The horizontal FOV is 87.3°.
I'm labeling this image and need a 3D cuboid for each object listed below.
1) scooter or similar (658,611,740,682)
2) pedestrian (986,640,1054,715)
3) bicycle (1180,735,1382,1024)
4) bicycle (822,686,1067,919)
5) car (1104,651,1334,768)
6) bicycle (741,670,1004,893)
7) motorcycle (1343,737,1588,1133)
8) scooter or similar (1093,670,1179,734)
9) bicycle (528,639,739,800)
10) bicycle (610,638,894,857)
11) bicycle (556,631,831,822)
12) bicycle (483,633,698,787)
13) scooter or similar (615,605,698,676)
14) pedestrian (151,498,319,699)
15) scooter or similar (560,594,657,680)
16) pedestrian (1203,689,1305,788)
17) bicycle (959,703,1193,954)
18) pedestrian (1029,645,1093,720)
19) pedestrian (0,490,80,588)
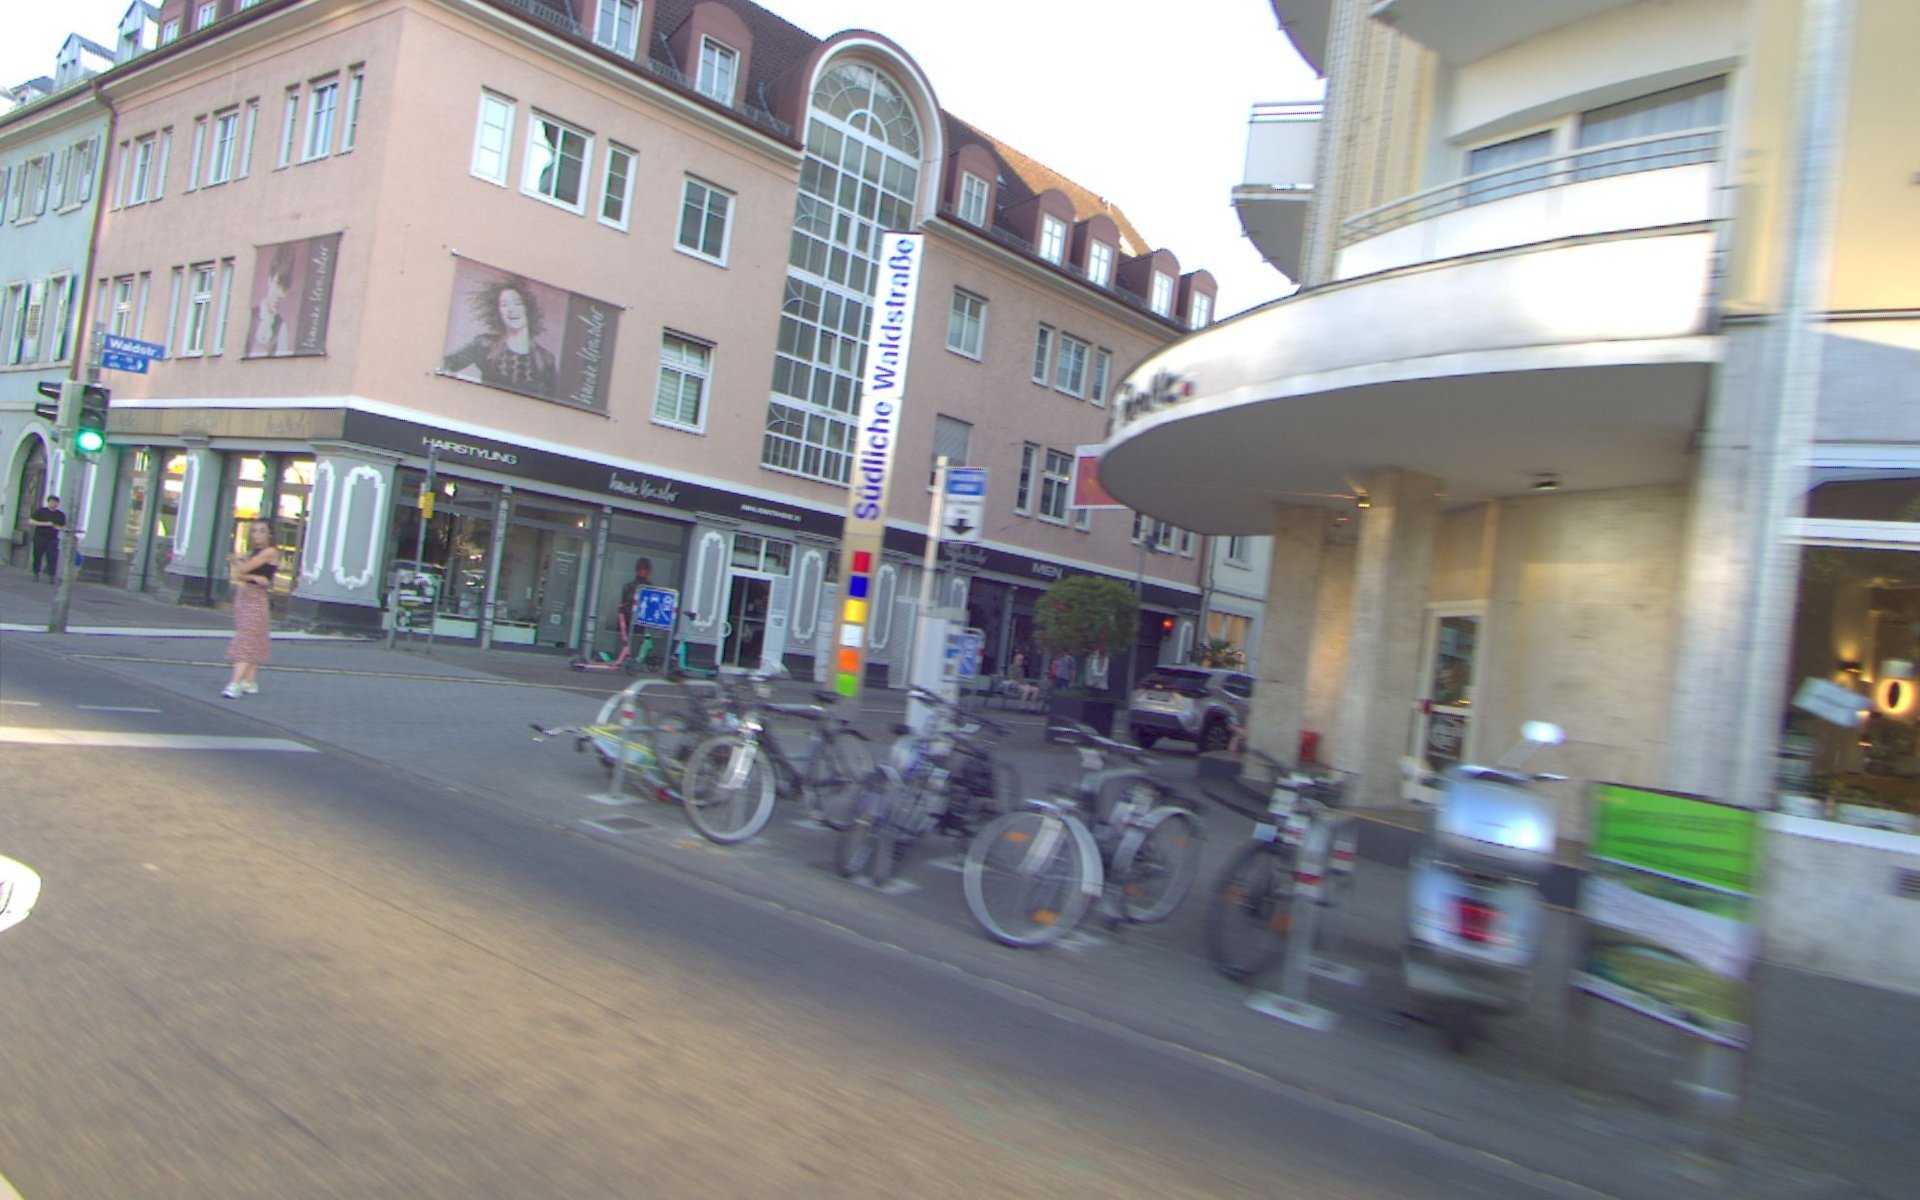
[{"bbox_3d":[-4.958,0.904,19.155,0.502,1.177,1.315,6,-3,43],"label":"scooter or similar"},{"bbox_3d":[1.380,1.792,23.272,0.978,1.542,1.037,8,-2,-35],"label":"pedestrian"},{"bbox_3d":[1.798,1.366,5.414,0.583,1.125,1.889,8,-1,28],"label":"bicycle"},{"bbox_3d":[-0.006,1.153,6.115,0.512,1.125,1.890,7,-3,28],"label":"bicycle"},{"bbox_3d":[4.763,2.021,18.299,3.971,1.587,1.908,10,-2,-38],"label":"car"},{"bbox_3d":[-0.465,1.087,6.375,0.591,1.125,1.890,7,-2,29],"label":"bicycle"},{"bbox_3d":[2.350,1.362,4.663,0.703,1.278,1.816,7,-1,29],"label":"motorcycle"},{"bbox_3d":[4.465,2.588,25.573,1.458,1.341,1.417,8,-2,-26],"label":"scooter or similar"},{"bbox_3d":[-2.416,0.881,7.623,0.503,1.038,1.504,7,-1,27],"label":"bicycle"},{"bbox_3d":[-1.306,0.941,6.776,0.710,1.181,1.889,7,-2,28],"label":"bicycle"},{"bbox_3d":[-1.865,0.907,7.388,0.749,1.125,1.890,7,-2,28],"label":"bicycle"},{"bbox_3d":[-2.829,0.860,7.870,0.503,1.027,1.504,7,-2,29],"label":"bicycle"},{"bbox_3d":[-5.747,0.783,19.083,0.516,1.177,1.318,7,-3,38],"label":"scooter or similar"},{"bbox_3d":[-6.811,0.007,9.475,0.797,1.740,0.797,7,-2,24],"label":"pedestrian"},{"bbox_3d":[-5.939,0.631,17.046,1.311,1.278,0.518,10,-2,-37],"label":"scooter or similar"},{"bbox_3d":[4.176,1.938,14.273,1.160,1.187,0.730,7,-1,24],"label":"pedestrian"},{"bbox_3d":[0.747,1.206,5.780,0.583,1.125,1.890,5,-3,28],"label":"bicycle"},{"bbox_3d":[2.365,1.934,23.545,1.038,1.582,0.824,8,-1,-35],"label":"pedestrian"},{"bbox_3d":[-18.679,-1.236,20.369,1.030,1.797,0.759,7,-2,27],"label":"pedestrian"}]
